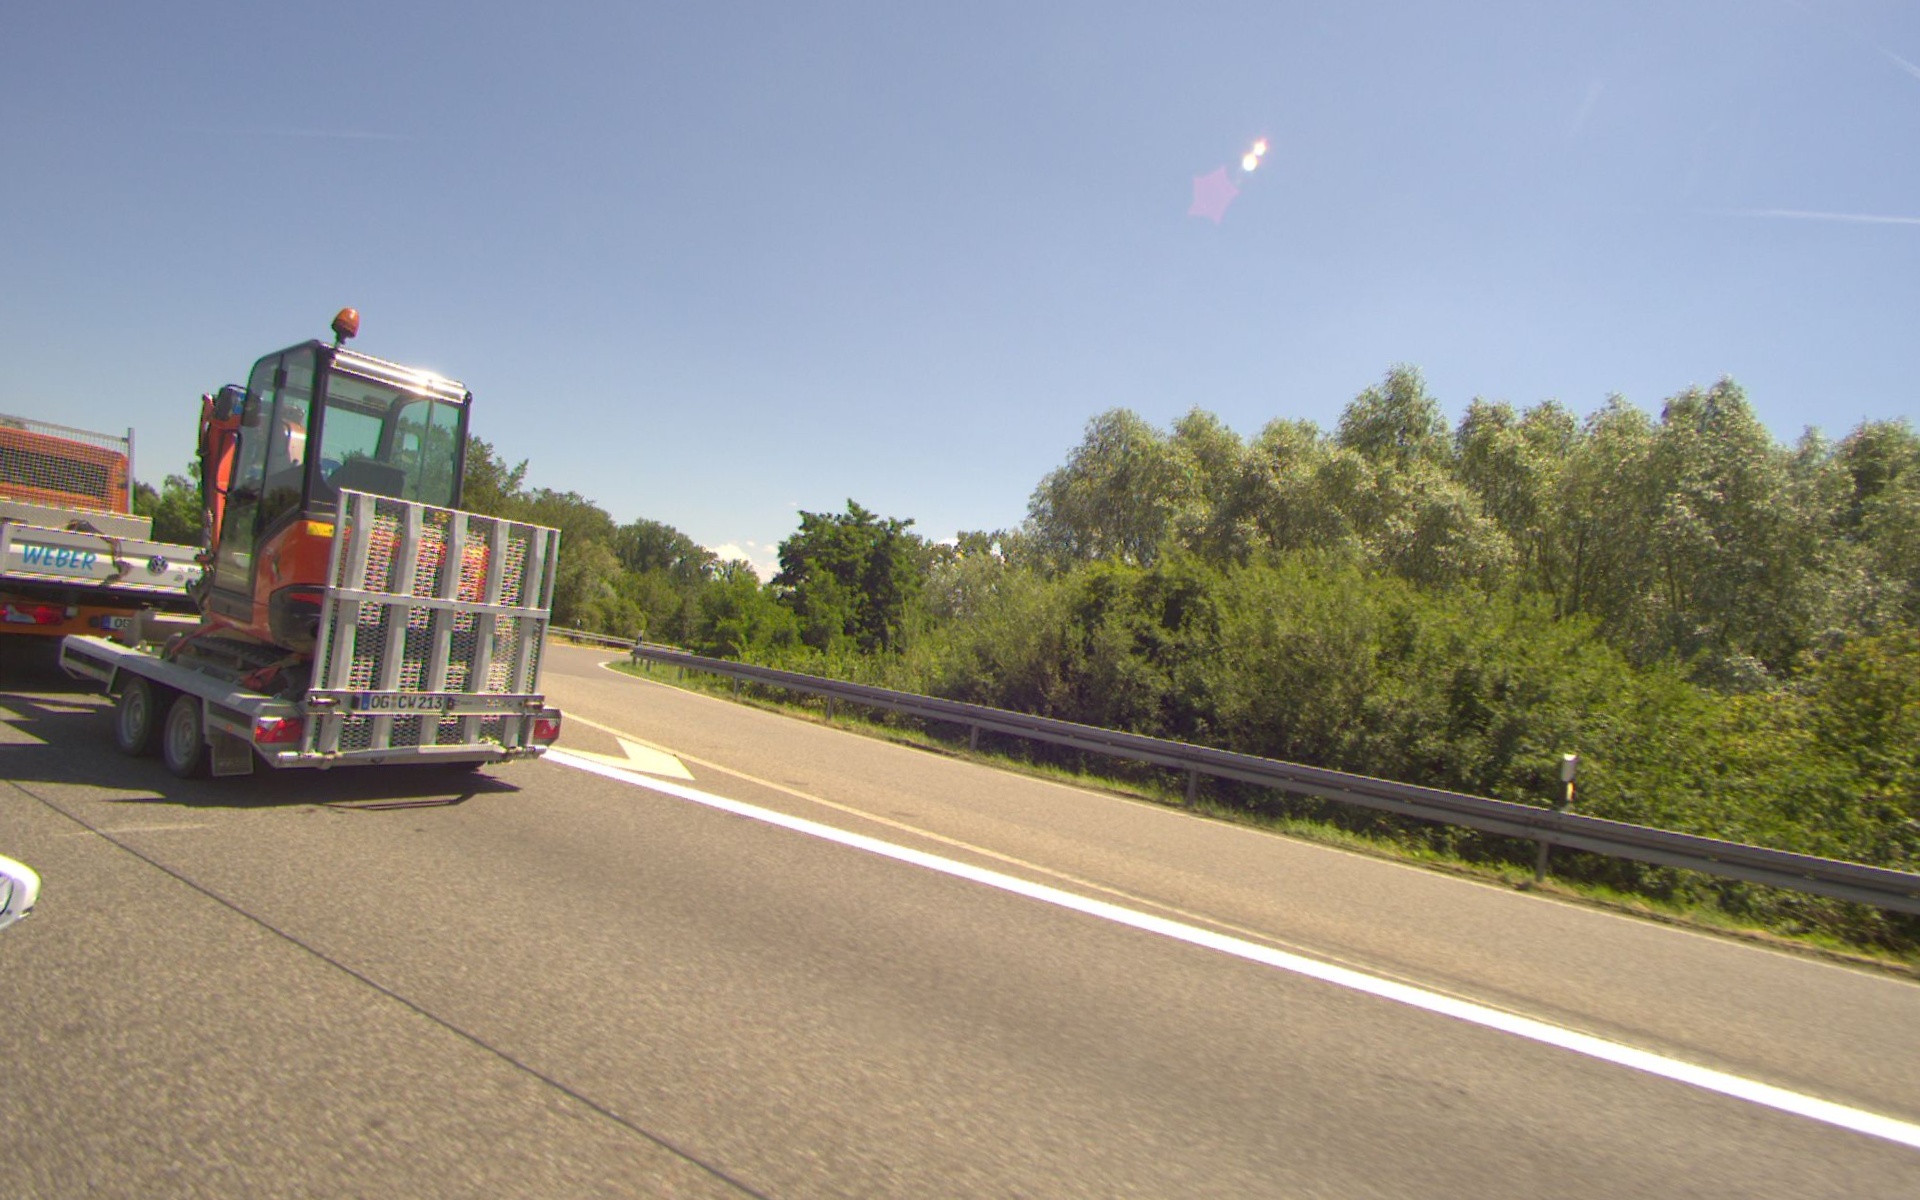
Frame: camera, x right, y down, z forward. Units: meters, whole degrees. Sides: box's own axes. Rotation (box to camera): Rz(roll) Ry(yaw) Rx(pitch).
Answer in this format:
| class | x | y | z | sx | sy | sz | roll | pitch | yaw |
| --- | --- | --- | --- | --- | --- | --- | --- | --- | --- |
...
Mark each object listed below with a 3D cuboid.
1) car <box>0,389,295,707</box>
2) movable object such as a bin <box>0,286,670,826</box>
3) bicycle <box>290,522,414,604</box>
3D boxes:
| class | x | y | z | sx | sy | sz | roll | pitch | yaw |
| --- | --- | --- | --- | --- | --- | --- | --- | --- | --- |
| car | -9.920 | -0.641 | 10.463 | 7.107 | 2.432 | 1.998 | 6 | -2 | 32 |
| movable object such as a bin | -4.771 | -0.333 | 7.420 | 4.682 | 2.847 | 2.179 | 6 | -2 | 32 |
| bicycle | -10.881 | -0.674 | 17.951 | 2.570 | 1.169 | 0.961 | 5 | -6 | 40 |
